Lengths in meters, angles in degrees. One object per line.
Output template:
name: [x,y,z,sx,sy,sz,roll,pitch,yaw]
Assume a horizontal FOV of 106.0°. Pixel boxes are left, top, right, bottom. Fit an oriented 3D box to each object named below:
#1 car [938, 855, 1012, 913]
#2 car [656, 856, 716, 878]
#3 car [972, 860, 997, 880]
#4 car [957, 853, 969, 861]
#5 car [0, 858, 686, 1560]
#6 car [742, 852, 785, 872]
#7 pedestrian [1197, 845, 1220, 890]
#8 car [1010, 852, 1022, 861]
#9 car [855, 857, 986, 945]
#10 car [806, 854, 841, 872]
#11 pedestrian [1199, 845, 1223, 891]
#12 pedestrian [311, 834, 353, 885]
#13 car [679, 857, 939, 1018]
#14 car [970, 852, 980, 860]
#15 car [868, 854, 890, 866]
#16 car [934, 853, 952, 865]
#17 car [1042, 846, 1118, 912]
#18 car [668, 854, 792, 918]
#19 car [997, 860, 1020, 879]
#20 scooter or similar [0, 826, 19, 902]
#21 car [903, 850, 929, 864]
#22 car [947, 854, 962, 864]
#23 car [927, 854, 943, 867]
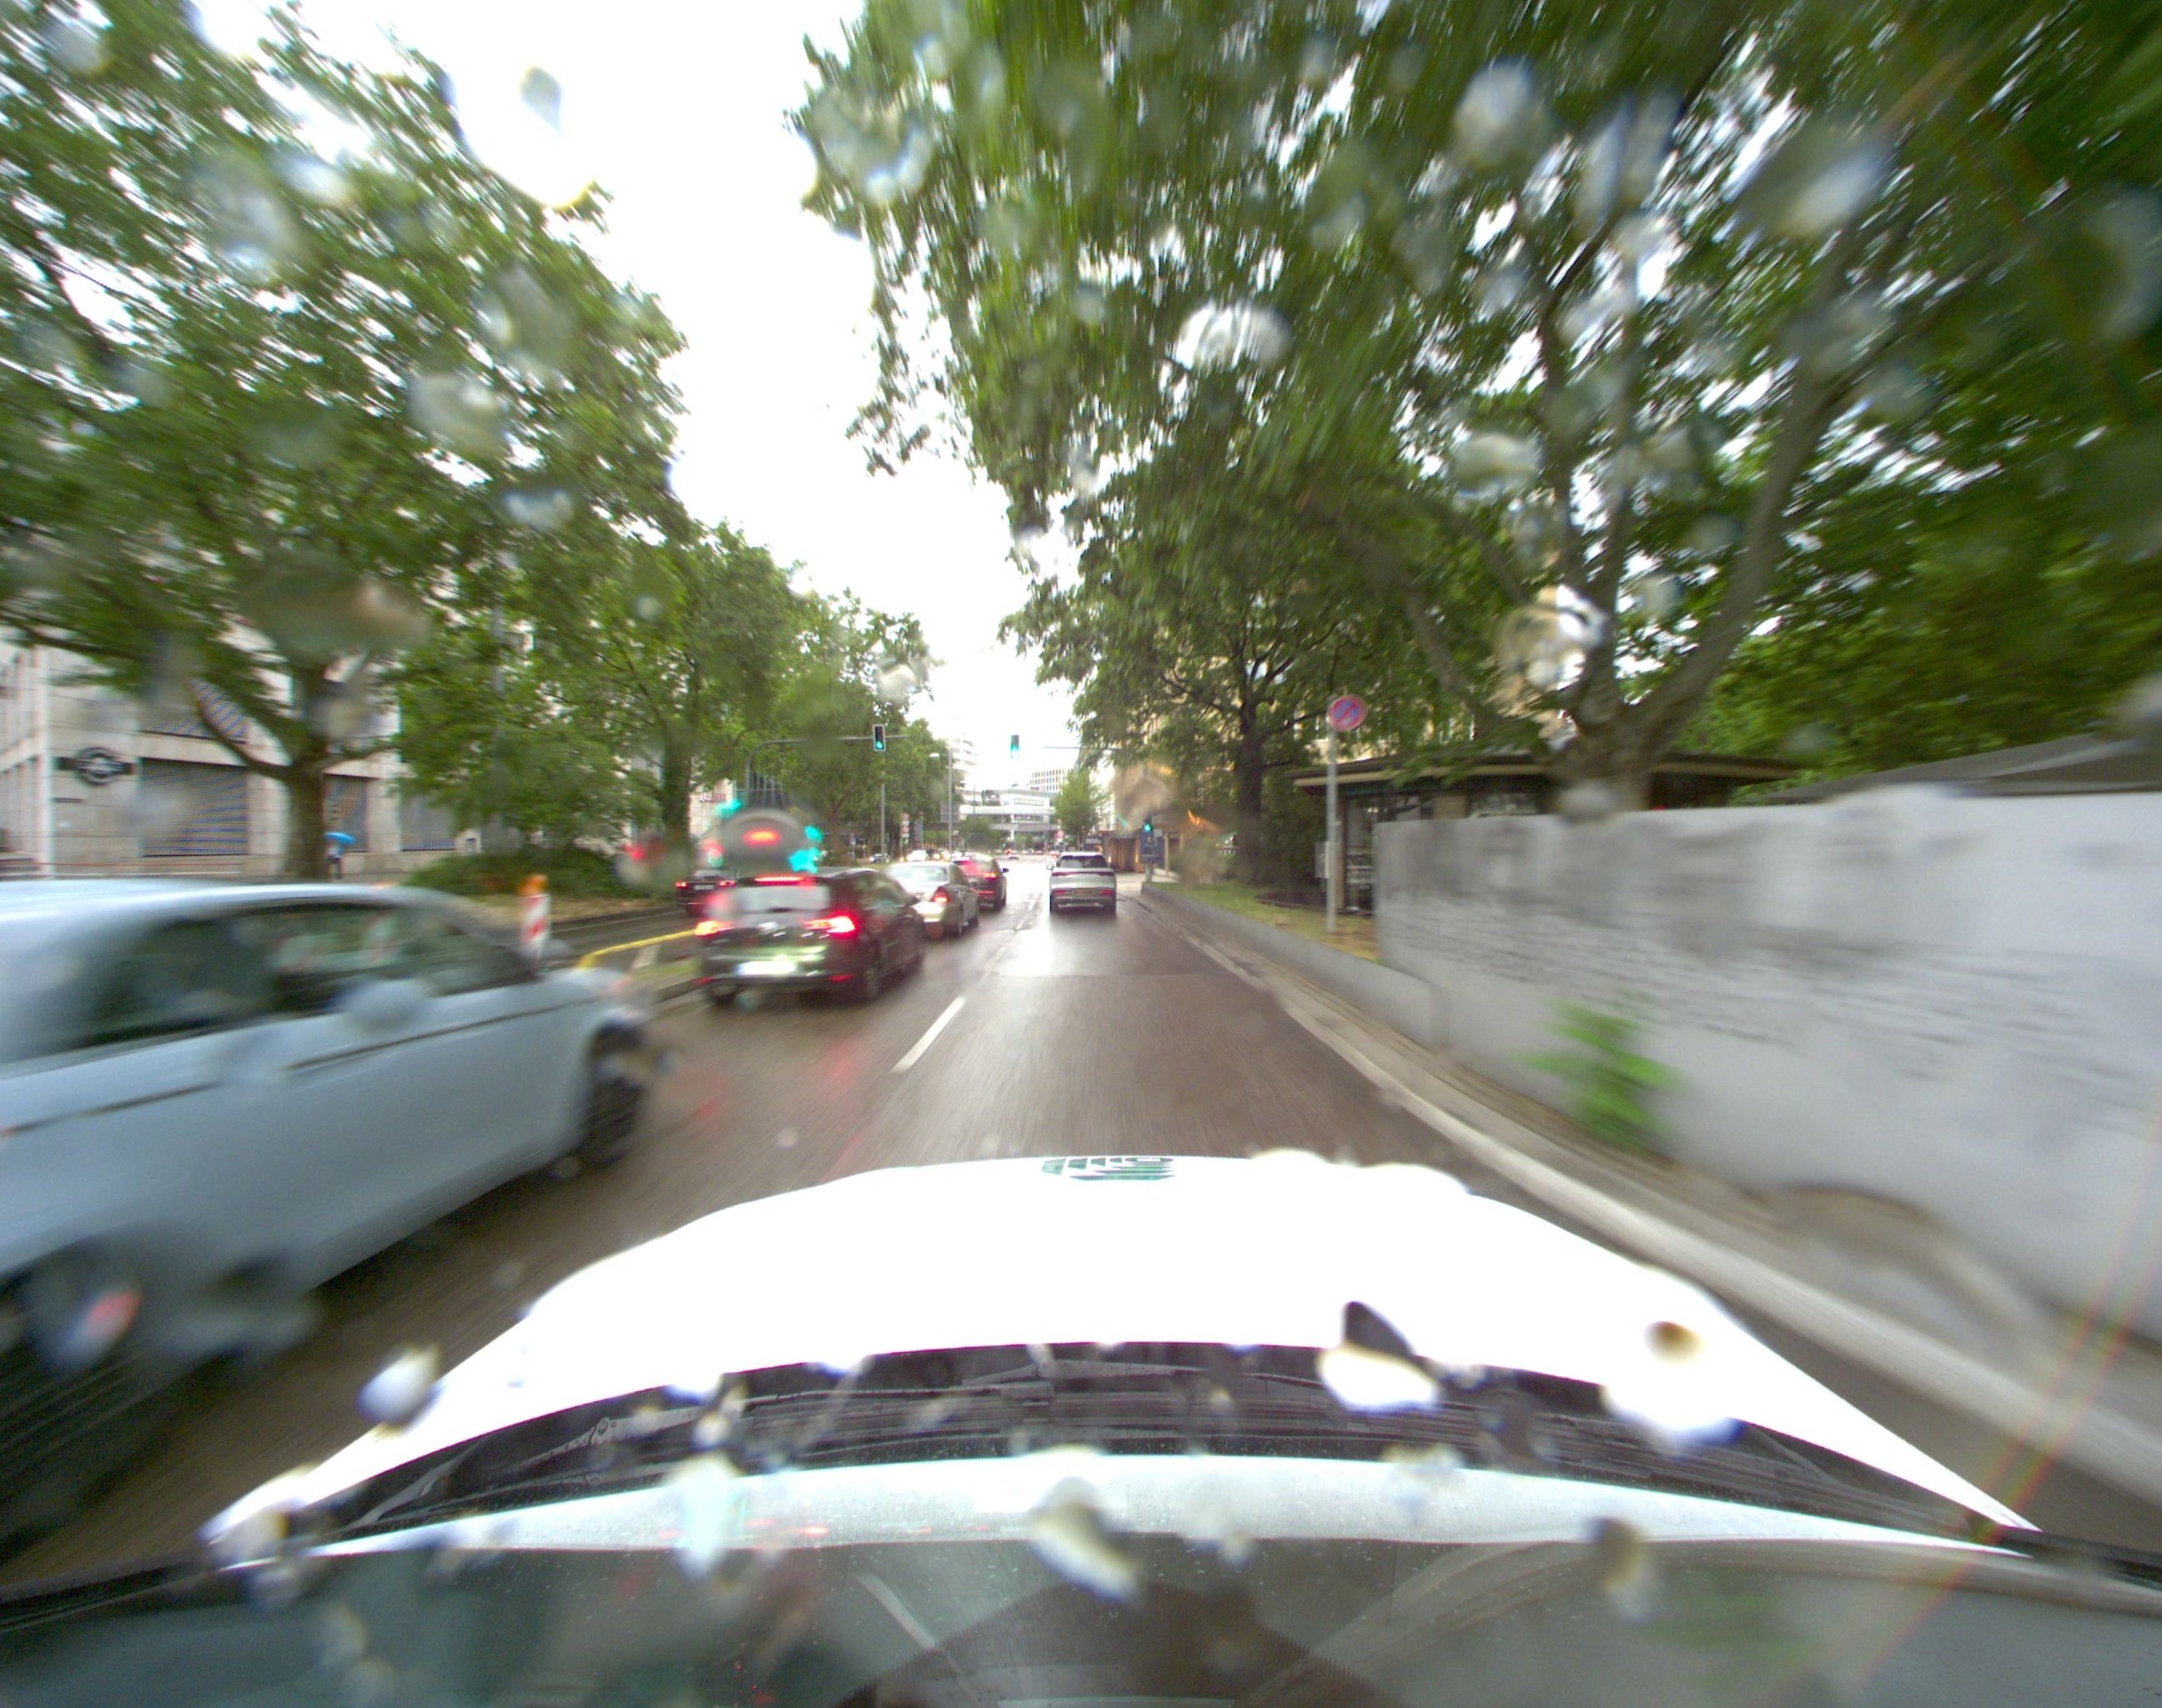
car: [-2.959,0.779,23.543,1.687,1.463,4.341,-2,0,-2]
car: [-26.425,0.845,54.595,1.681,1.403,4.244,0,-1,4]
car: [-7.855,1.283,66.627,1.687,1.463,4.341,-2,0,-2]
car: [-21.280,0.540,147.174,1.790,1.510,4.341,-2,0,-3]
car: [-3.128,0.796,2.986,1.585,1.491,3.505,-2,0,0]
car: [-26.409,0.686,67.850,1.681,1.642,4.244,0,-1,4]
pedestrian: [5.124,0.541,32.810,0.855,1.780,0.718,0,-1,3]
car: [-11.286,0.421,141.377,1.974,1.463,4.341,-2,0,-3]
car: [-3.052,0.818,16.353,1.685,1.463,4.345,-2,0,0]
car: [-23.212,0.806,73.579,1.790,1.510,4.496,-2,0,-3]
pedestrian: [5.103,0.535,32.054,0.855,1.780,0.718,0,-1,3]
pedestrian: [-29.987,0.209,32.611,0.783,2.013,0.946,2,0,-4]
car: [-2.963,0.808,9.848,1.685,1.463,4.130,-2,0,0]
car: [-22.065,0.378,169.854,1.790,1.510,4.341,-2,0,-3]
car: [-24.379,0.705,98.345,1.844,1.366,4.235,0,-1,-3]
car: [-18.160,0.647,107.539,1.790,1.510,4.496,-2,0,-3]
car: [-0.018,0.653,23.243,1.940,1.666,4.345,1,0,0]
car: [-9.723,0.813,22.916,1.694,1.619,4.000,0,0,0]
car: [-5.905,1.237,66.654,1.687,1.463,4.341,-2,0,-2]
scooter or similar: [-30.023,0.274,21.516,3.064,2.013,0.833,0,0,4]
car: [-17.791,0.328,87.983,2.154,1.463,4.341,-2,0,-3]
car: [-19.419,0.796,125.380,1.790,1.510,4.496,-2,0,-3]
car: [-21.943,0.934,122.701,1.790,1.909,4.496,-2,0,-3]
